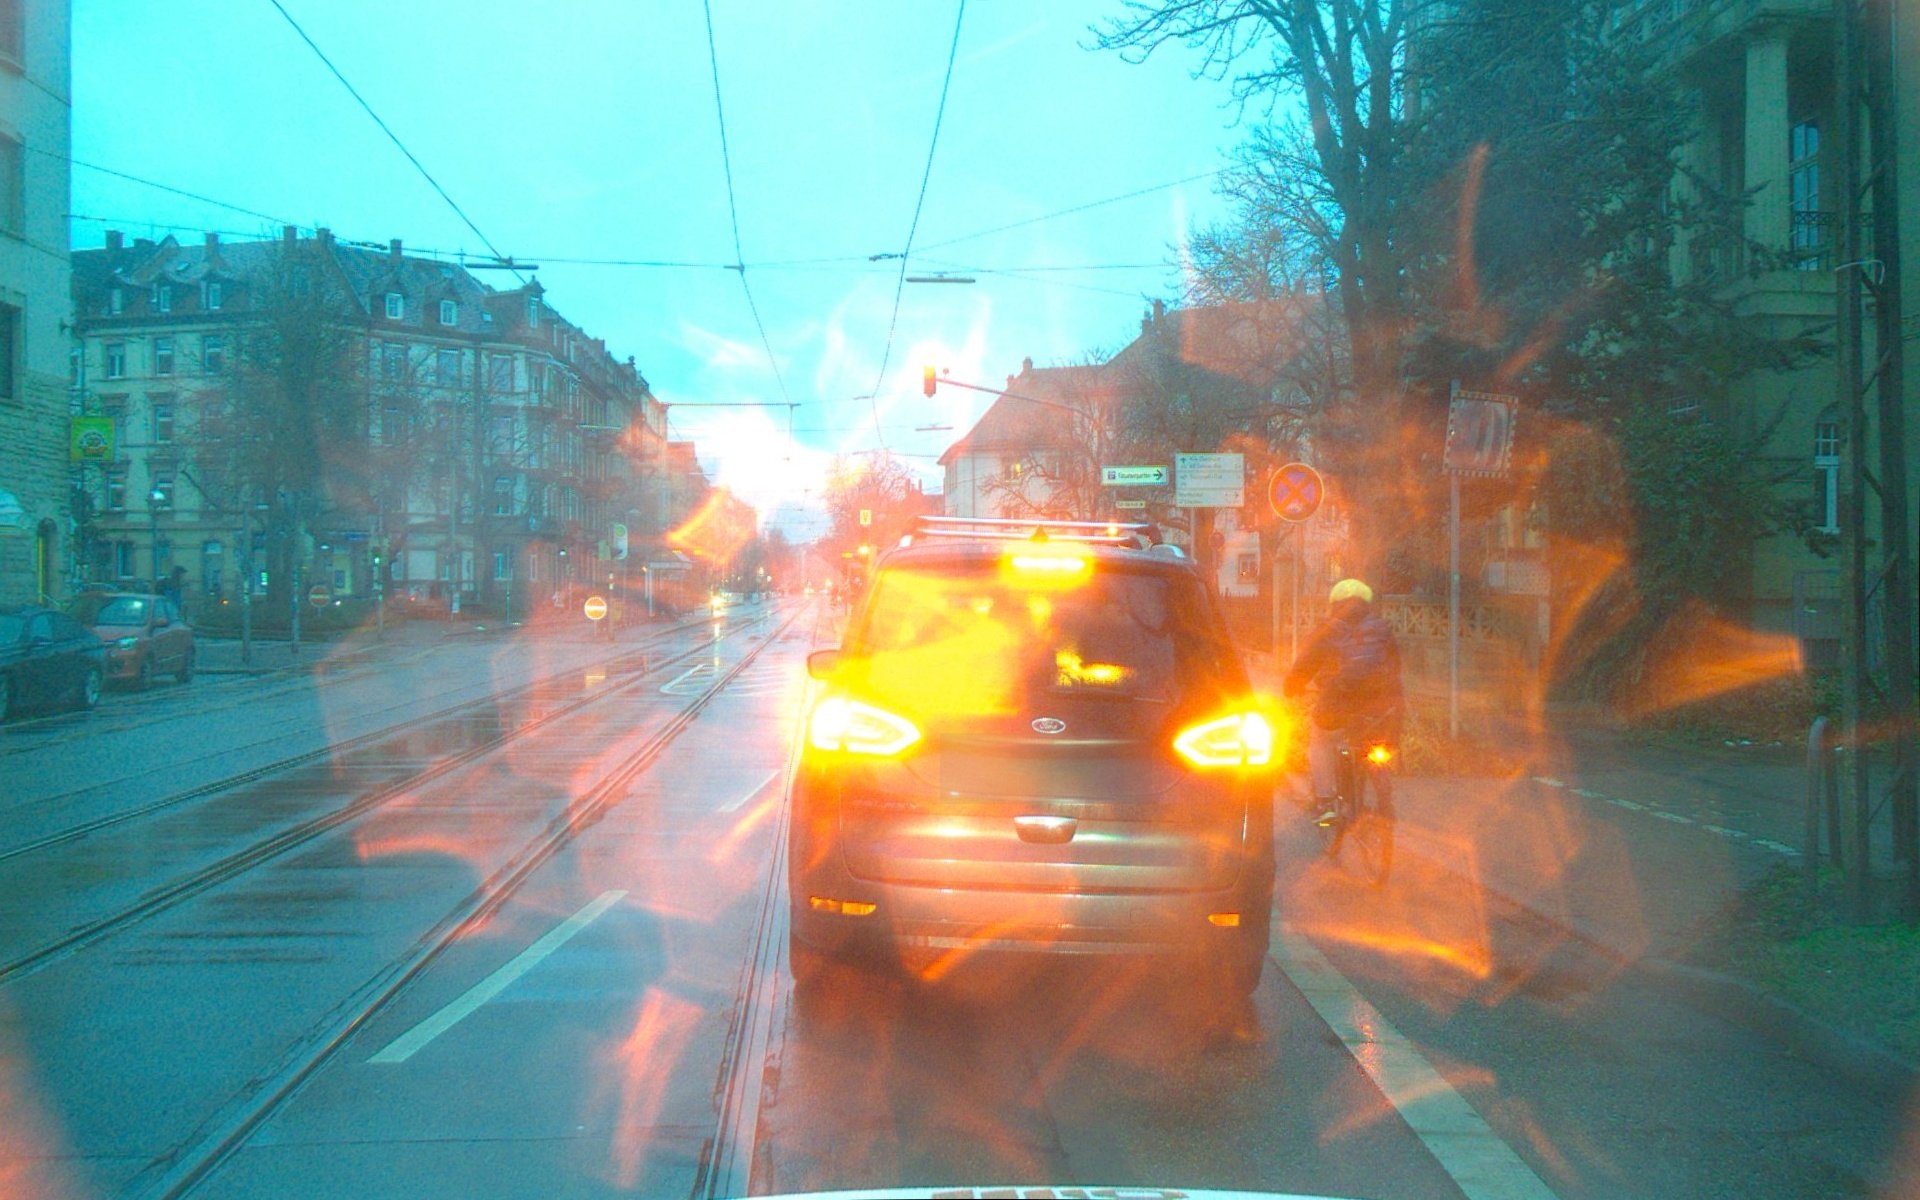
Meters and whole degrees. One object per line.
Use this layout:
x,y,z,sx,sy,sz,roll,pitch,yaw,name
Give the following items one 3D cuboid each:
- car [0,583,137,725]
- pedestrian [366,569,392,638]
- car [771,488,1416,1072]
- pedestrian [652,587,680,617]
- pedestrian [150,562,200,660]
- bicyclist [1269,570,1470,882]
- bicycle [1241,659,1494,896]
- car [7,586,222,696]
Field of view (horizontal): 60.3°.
-13.070,0.651,22.312,1.949,1.674,4.624,5,-1,-7,car
-17.580,0.104,50.076,0.695,2.049,0.656,0,0,-24,pedestrian
0.358,0.580,7.721,2.061,1.848,4.658,2,0,-2,car
-12.107,0.093,68.194,1.026,1.221,0.884,1,0,-3,pedestrian
-16.742,0.234,35.268,0.742,2.049,0.646,0,-1,32,pedestrian
2.365,0.697,9.674,0.703,1.691,1.054,4,0,-9,bicyclist
2.335,0.982,9.759,0.703,1.131,1.938,4,0,-8,bicycle
-14.190,0.633,28.030,2.000,1.578,4.023,4,0,-9,car
